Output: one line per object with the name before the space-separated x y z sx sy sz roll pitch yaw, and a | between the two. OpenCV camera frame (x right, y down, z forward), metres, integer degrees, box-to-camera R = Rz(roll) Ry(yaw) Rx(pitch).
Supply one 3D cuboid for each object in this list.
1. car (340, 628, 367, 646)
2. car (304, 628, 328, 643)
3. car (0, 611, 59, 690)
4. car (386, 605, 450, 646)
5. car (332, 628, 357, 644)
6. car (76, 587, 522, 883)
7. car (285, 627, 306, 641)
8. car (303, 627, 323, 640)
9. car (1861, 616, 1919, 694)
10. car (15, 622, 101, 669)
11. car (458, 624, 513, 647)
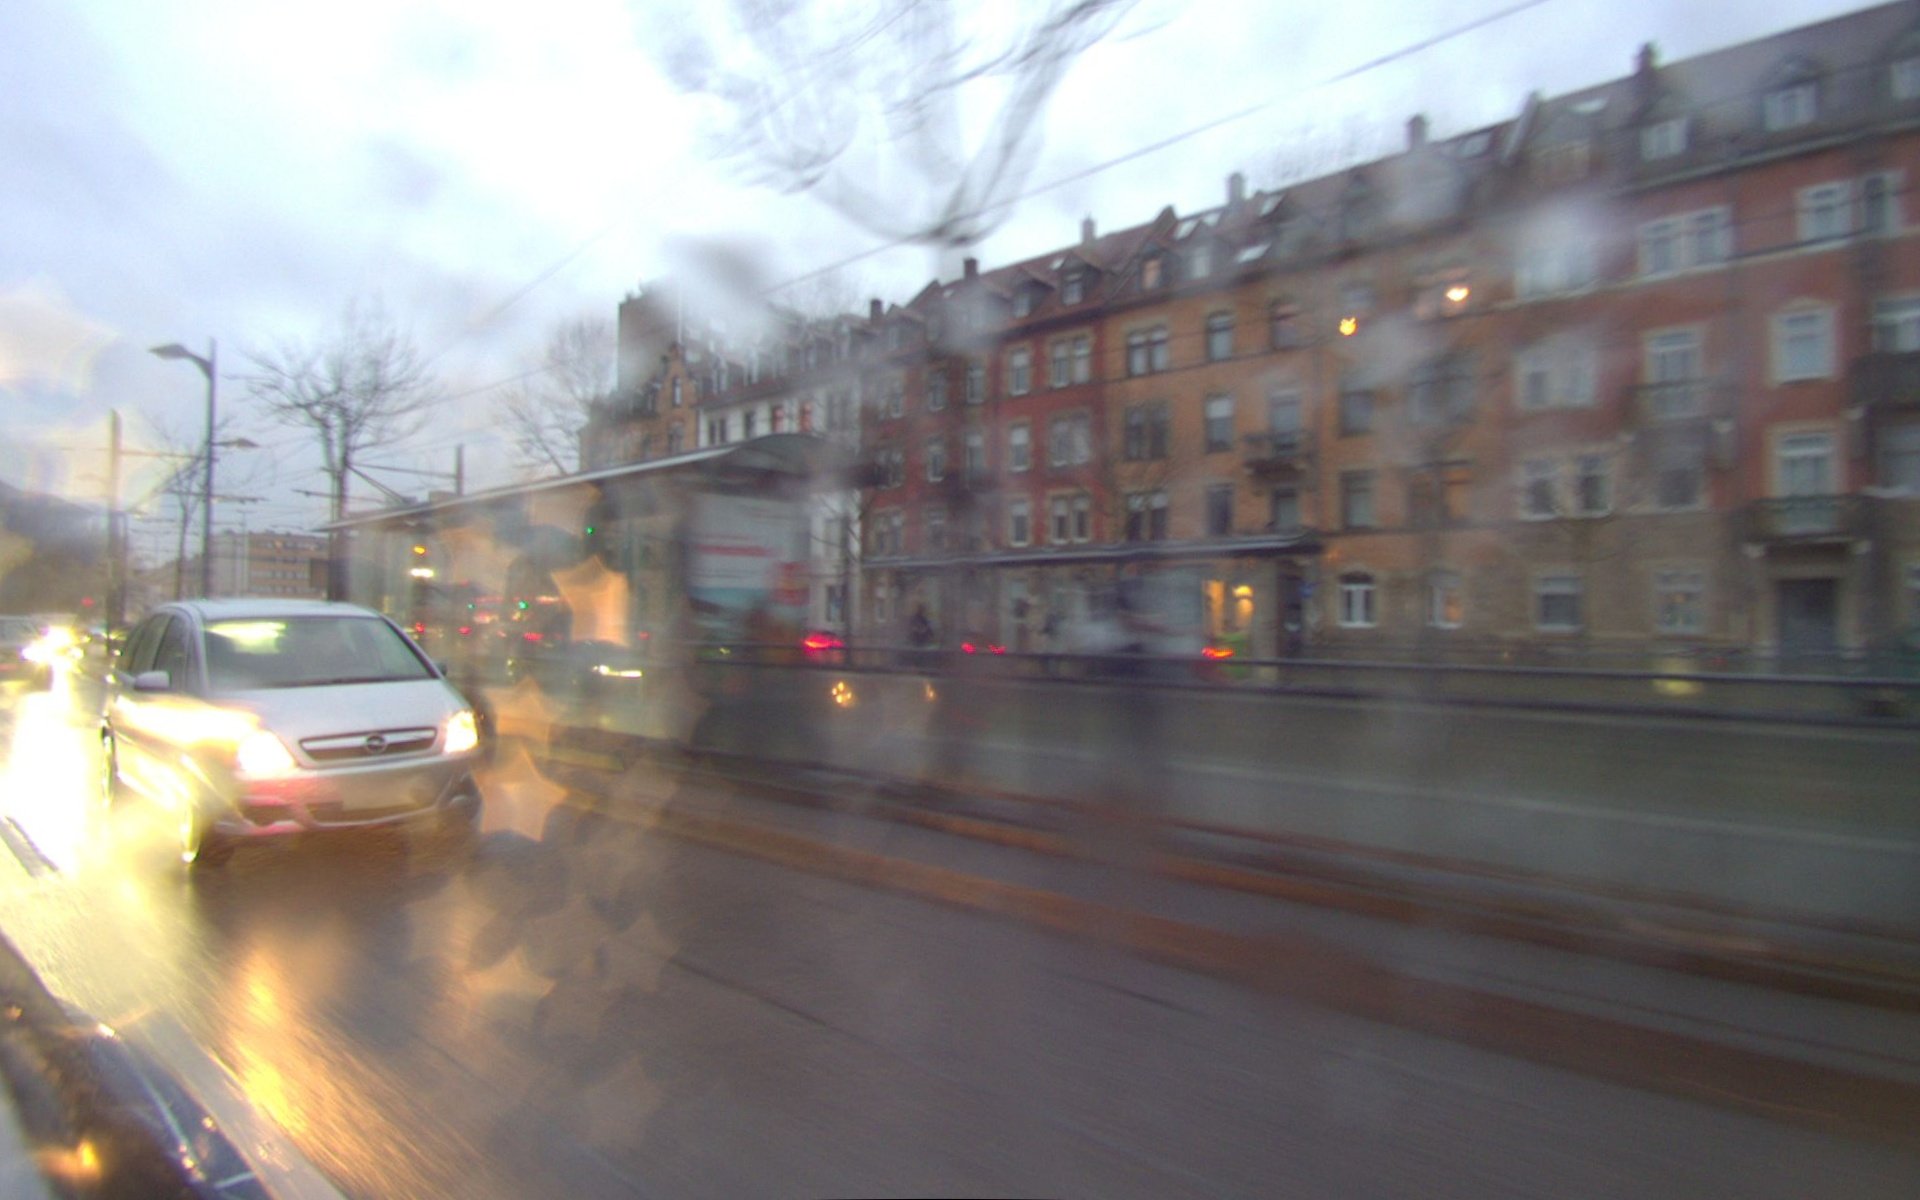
car | -59.493 3.653 99.251 1.894 1.657 4.010 3 -3 -35
car | -72.681 3.972 114.213 1.967 1.657 4.009 3 -3 -37
car | -20.447 1.046 21.367 4.000 1.556 1.729 -2 -3 43
car | -31.755 1.515 59.238 1.970 2.327 5.271 2 -3 -43
car | -65.489 3.815 107.671 1.967 1.657 4.010 3 -3 -35
car | -4.941 0.767 7.330 4.107 1.560 1.628 -2 -2 41
car | -80.427 4.149 122.533 1.967 1.657 4.010 3 -3 -35
car | -82.919 4.262 129.706 1.967 1.657 4.010 3 -3 -35
car | 20.796 1.095 19.961 4.466 1.548 1.821 -1 -1 42
car | -35.579 1.809 40.020 1.790 1.756 4.198 2 -3 -32
car | -27.376 2.056 58.346 4.088 1.236 1.519 -2 -3 44
